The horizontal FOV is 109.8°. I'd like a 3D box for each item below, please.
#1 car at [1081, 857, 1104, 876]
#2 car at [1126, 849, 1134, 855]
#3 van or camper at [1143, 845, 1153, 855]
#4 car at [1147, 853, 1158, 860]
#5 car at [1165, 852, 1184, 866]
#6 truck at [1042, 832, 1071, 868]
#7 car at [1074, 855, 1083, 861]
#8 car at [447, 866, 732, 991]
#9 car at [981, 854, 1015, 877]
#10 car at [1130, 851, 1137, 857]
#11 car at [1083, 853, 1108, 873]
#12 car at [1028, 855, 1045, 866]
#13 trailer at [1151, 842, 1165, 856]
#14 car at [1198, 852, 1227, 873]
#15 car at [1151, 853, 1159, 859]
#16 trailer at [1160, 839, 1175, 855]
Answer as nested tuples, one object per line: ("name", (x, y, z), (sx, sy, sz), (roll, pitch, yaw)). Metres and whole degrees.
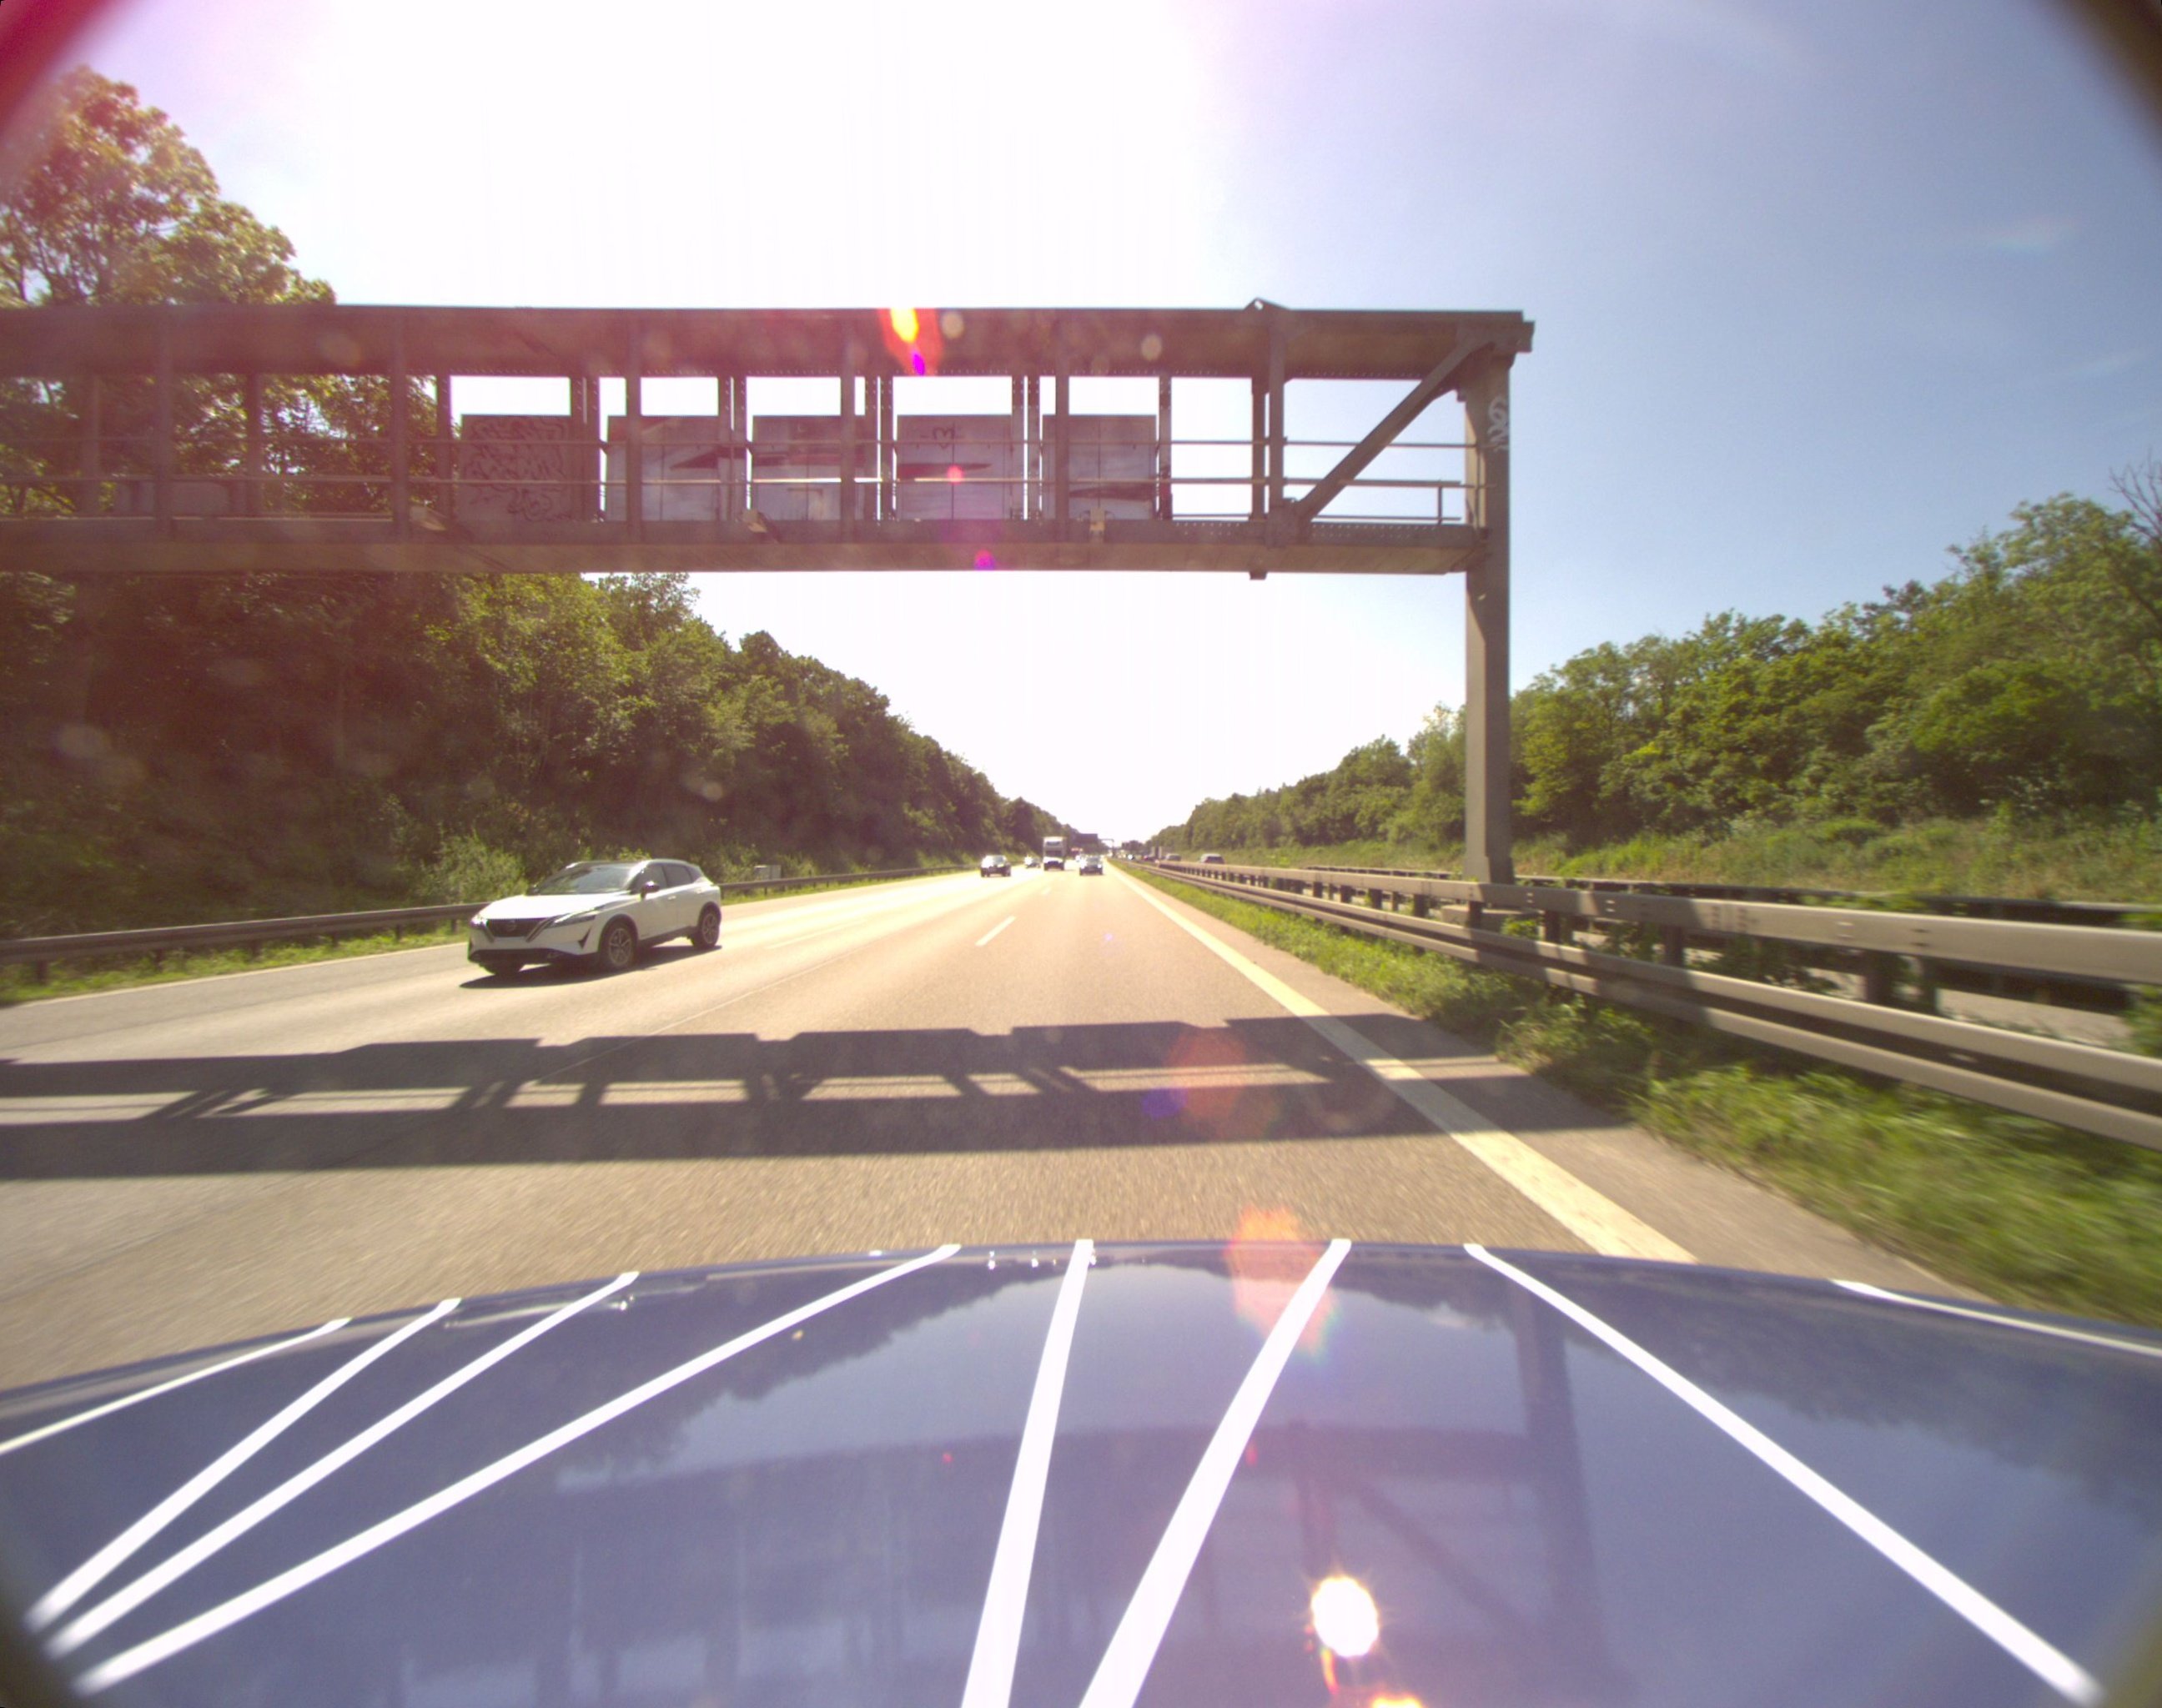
("car", (0.815, 0.863, 54.198), (1.537, 1.265, 2.770), (-1, 0, 1))
("car", (15.568, -0.614, 241.501), (1.933, 1.969, 5.235), (2, 0, 1))
("van or camper", (18.698, -1.068, 211.635), (2.202, 2.795, 6.798), (2, 0, 2))
("car", (13.490, 0.494, 142.836), (1.718, 1.390, 4.149), (0, 0, 1))
("car", (11.532, 0.642, 94.053), (1.811, 1.632, 4.800), (2, 0, 0))
("truck", (-2.539, -0.385, 79.783), (2.676, 3.660, 6.484), (-1, 0, 1))
("car", (-0.548, 0.798, 171.070), (1.831, 1.346, 3.679), (0, 0, 1))
("car", (-7.537, 1.029, 12.235), (1.848, 1.559, 4.035), (-2, 0, 1))
("car", (-6.517, 0.862, 59.953), (1.924, 1.659, 4.687), (-2, 0, 3))
("car", (13.048, 0.099, 189.683), (1.437, 1.519, 3.457), (0, 0, 1))
("car", (1.077, 0.678, 58.081), (1.814, 1.483, 3.729), (-1, 0, 1))
("car", (-5.714, 0.826, 98.432), (1.916, 1.390, 4.138), (-1, 0, 1))
("trailer", (22.417, -1.418, 222.527), (2.621, 4.034, 14.169), (2, 0, 1))
("car", (10.840, 0.671, 62.788), (1.766, 1.608, 4.231), (0, 0, 1))
("car", (17.997, 0.444, 184.027), (1.679, 1.487, 3.544), (0, 0, 1))
("trailer", (21.963, -1.705, 193.224), (2.719, 3.787, 7.692), (1, 0, 1))
